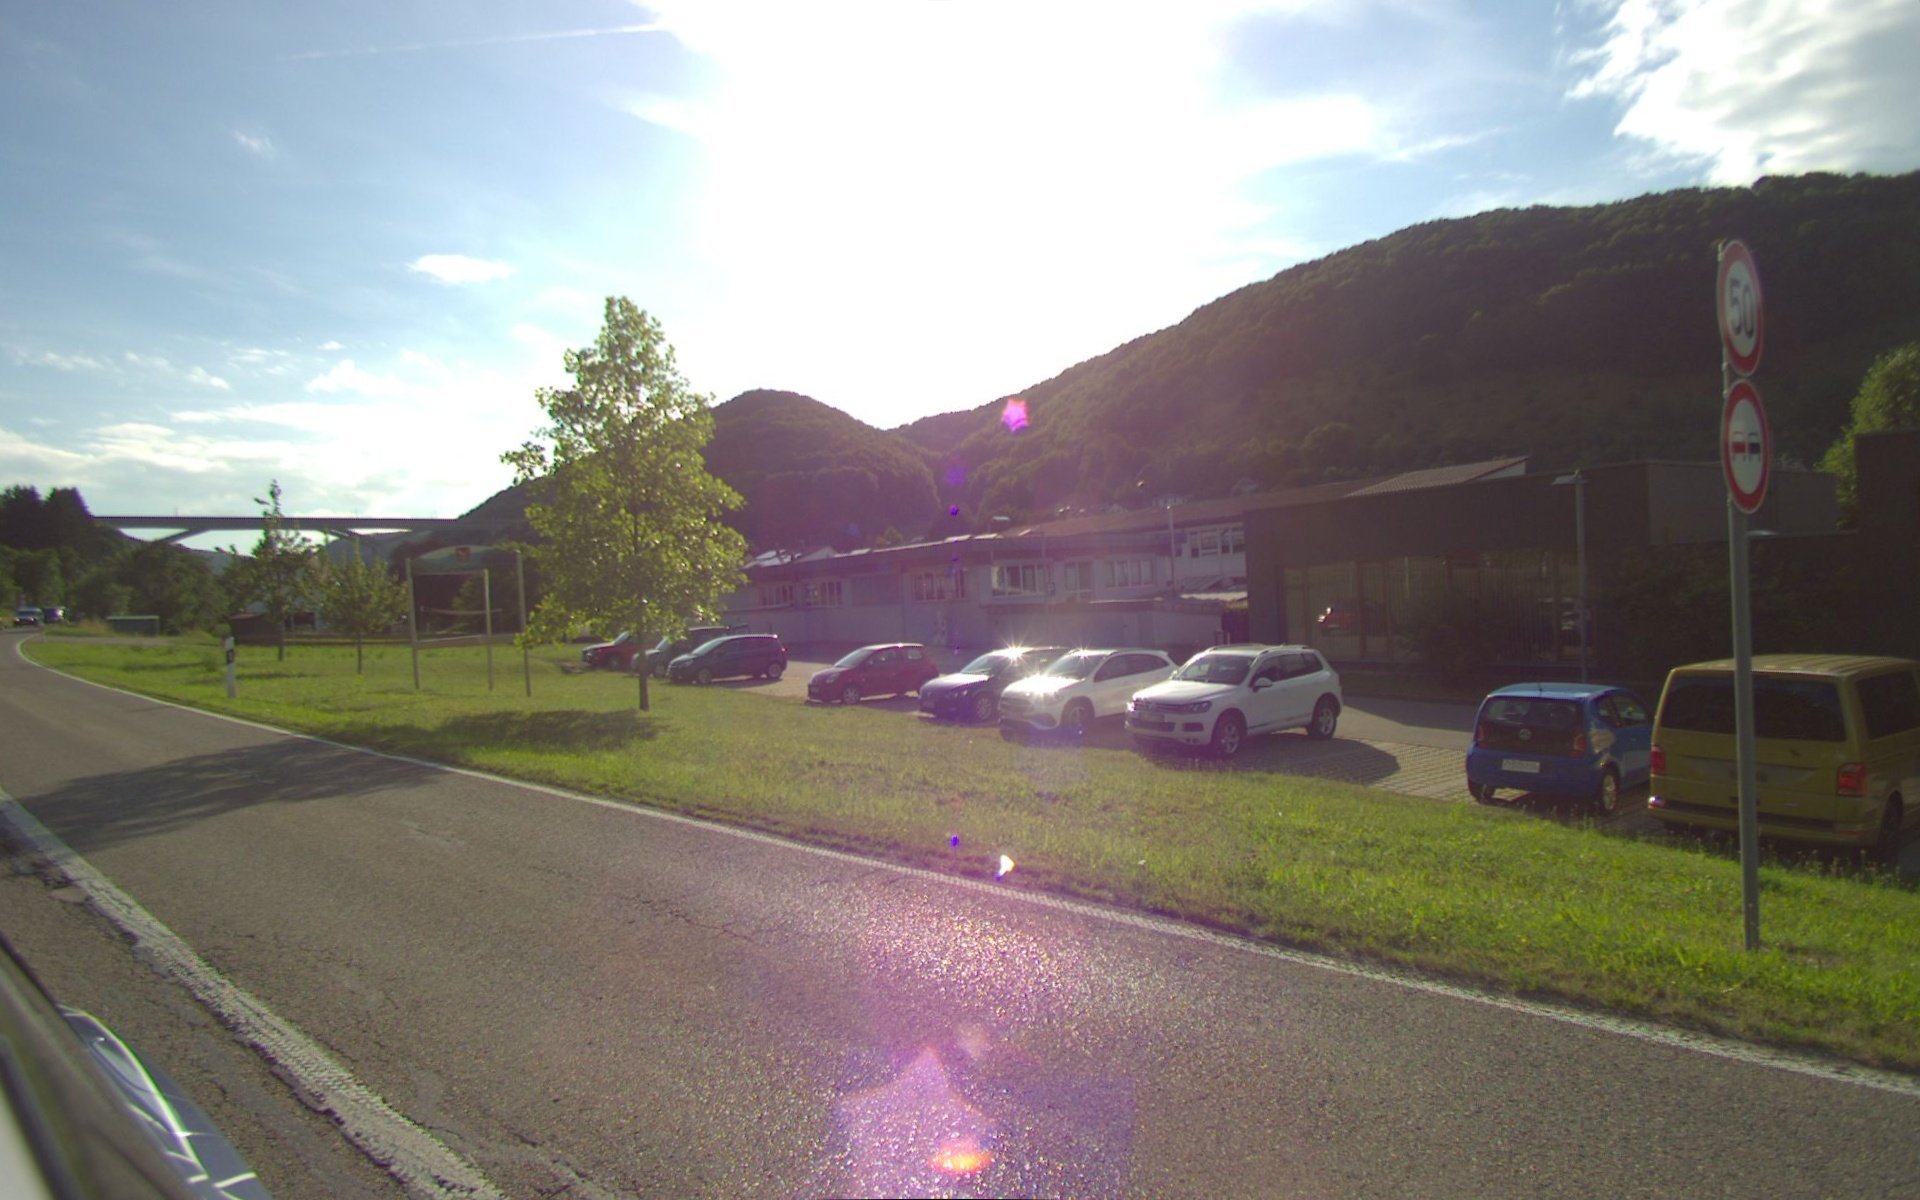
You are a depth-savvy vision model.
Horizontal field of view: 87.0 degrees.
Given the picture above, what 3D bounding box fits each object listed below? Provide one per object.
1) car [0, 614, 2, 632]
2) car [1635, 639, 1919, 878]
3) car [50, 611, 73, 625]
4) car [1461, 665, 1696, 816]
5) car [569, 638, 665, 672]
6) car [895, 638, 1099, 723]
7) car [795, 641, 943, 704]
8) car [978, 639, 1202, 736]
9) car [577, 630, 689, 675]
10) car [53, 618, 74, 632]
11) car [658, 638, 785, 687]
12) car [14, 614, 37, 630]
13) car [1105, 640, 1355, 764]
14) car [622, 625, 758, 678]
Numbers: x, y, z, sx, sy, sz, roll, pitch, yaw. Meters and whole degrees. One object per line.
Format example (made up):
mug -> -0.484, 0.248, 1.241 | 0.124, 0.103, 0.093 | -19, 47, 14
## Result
car -> -80.959, 1.932, 84.145 | 1.605, 1.490, 3.687 | -1, 0, -38
car -> 9.472, 1.469, 10.977 | 4.548, 1.882, 2.005 | -1, 0, -34
car -> -97.706, 1.947, 110.102 | 1.605, 1.490, 3.687 | -1, 0, -38
car -> 8.294, 1.745, 13.486 | 3.449, 1.483, 1.636 | -1, 0, -40
car -> -15.876, 2.529, 46.893 | 3.835, 1.379, 1.857 | 0, 0, -37
car -> 0.905, 1.776, 23.474 | 4.480, 1.566, 2.004 | -1, 0, -38
car -> -2.410, 1.908, 27.284 | 3.672, 1.408, 1.619 | -1, 0, -38
car -> 2.748, 1.699, 20.865 | 4.480, 1.566, 2.004 | -1, 0, -38
car -> -14.165, 2.227, 43.937 | 4.262, 1.682, 1.853 | -1, 0, -33
car -> -103.103, 2.818, 116.430 | 1.605, 1.490, 3.687 | -1, 0, -38
car -> -8.318, 2.149, 35.424 | 3.957, 1.463, 1.687 | -1, -2, -39
car -> -91.117, 2.093, 98.672 | 1.606, 1.490, 3.683 | -1, 0, -43
car -> 4.906, 1.695, 18.109 | 4.480, 1.716, 2.004 | -1, 0, -38
car -> -10.556, 1.975, 39.842 | 4.928, 1.807, 1.687 | -1, 0, -40
